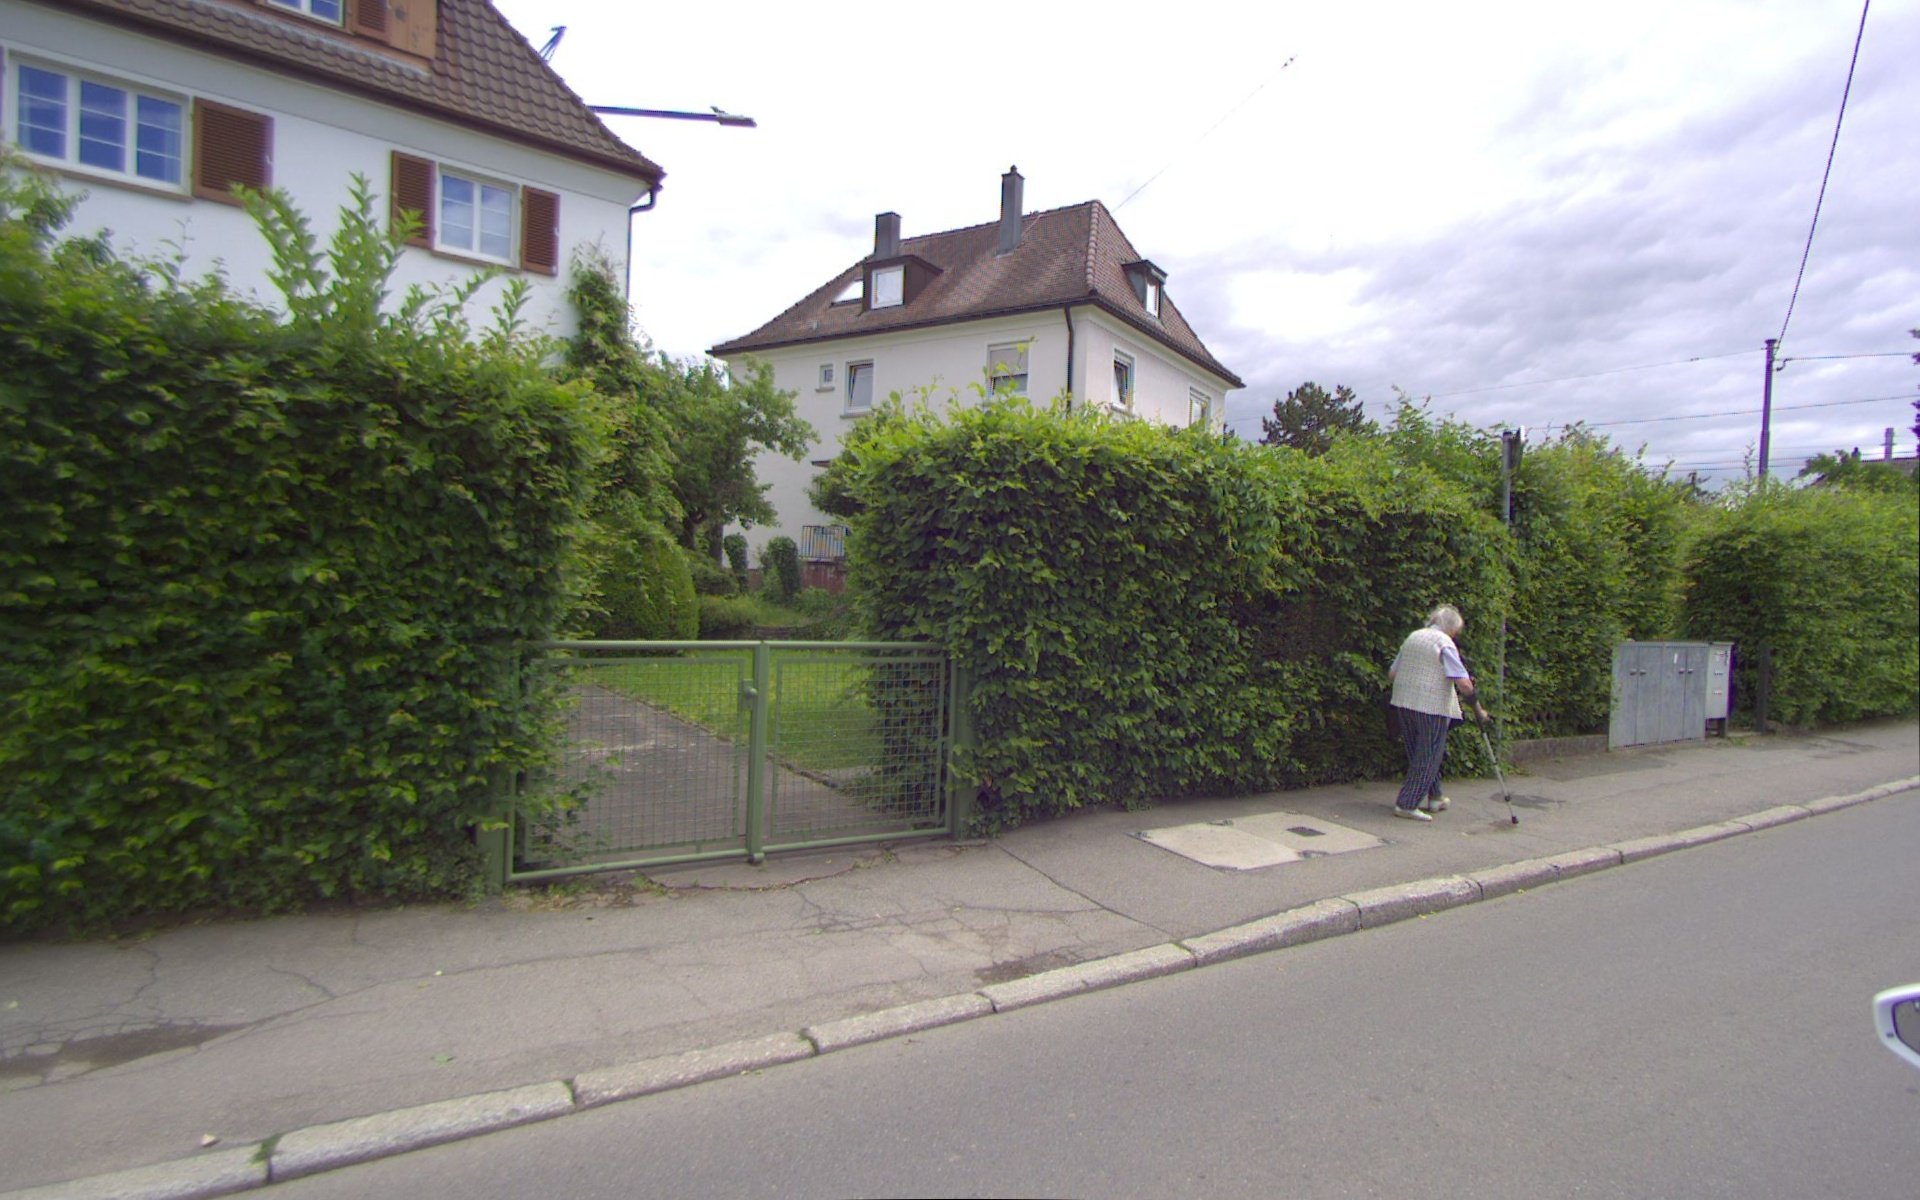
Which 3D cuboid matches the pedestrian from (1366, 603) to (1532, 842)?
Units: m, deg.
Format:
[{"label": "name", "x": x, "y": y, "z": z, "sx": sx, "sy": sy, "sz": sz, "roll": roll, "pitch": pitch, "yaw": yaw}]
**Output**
[{"label": "pedestrian", "x": 3.400, "y": 0.808, "z": 7.004, "sx": 0.865, "sy": 1.505, "sz": 0.453, "roll": 5, "pitch": 3, "yaw": 40}]
